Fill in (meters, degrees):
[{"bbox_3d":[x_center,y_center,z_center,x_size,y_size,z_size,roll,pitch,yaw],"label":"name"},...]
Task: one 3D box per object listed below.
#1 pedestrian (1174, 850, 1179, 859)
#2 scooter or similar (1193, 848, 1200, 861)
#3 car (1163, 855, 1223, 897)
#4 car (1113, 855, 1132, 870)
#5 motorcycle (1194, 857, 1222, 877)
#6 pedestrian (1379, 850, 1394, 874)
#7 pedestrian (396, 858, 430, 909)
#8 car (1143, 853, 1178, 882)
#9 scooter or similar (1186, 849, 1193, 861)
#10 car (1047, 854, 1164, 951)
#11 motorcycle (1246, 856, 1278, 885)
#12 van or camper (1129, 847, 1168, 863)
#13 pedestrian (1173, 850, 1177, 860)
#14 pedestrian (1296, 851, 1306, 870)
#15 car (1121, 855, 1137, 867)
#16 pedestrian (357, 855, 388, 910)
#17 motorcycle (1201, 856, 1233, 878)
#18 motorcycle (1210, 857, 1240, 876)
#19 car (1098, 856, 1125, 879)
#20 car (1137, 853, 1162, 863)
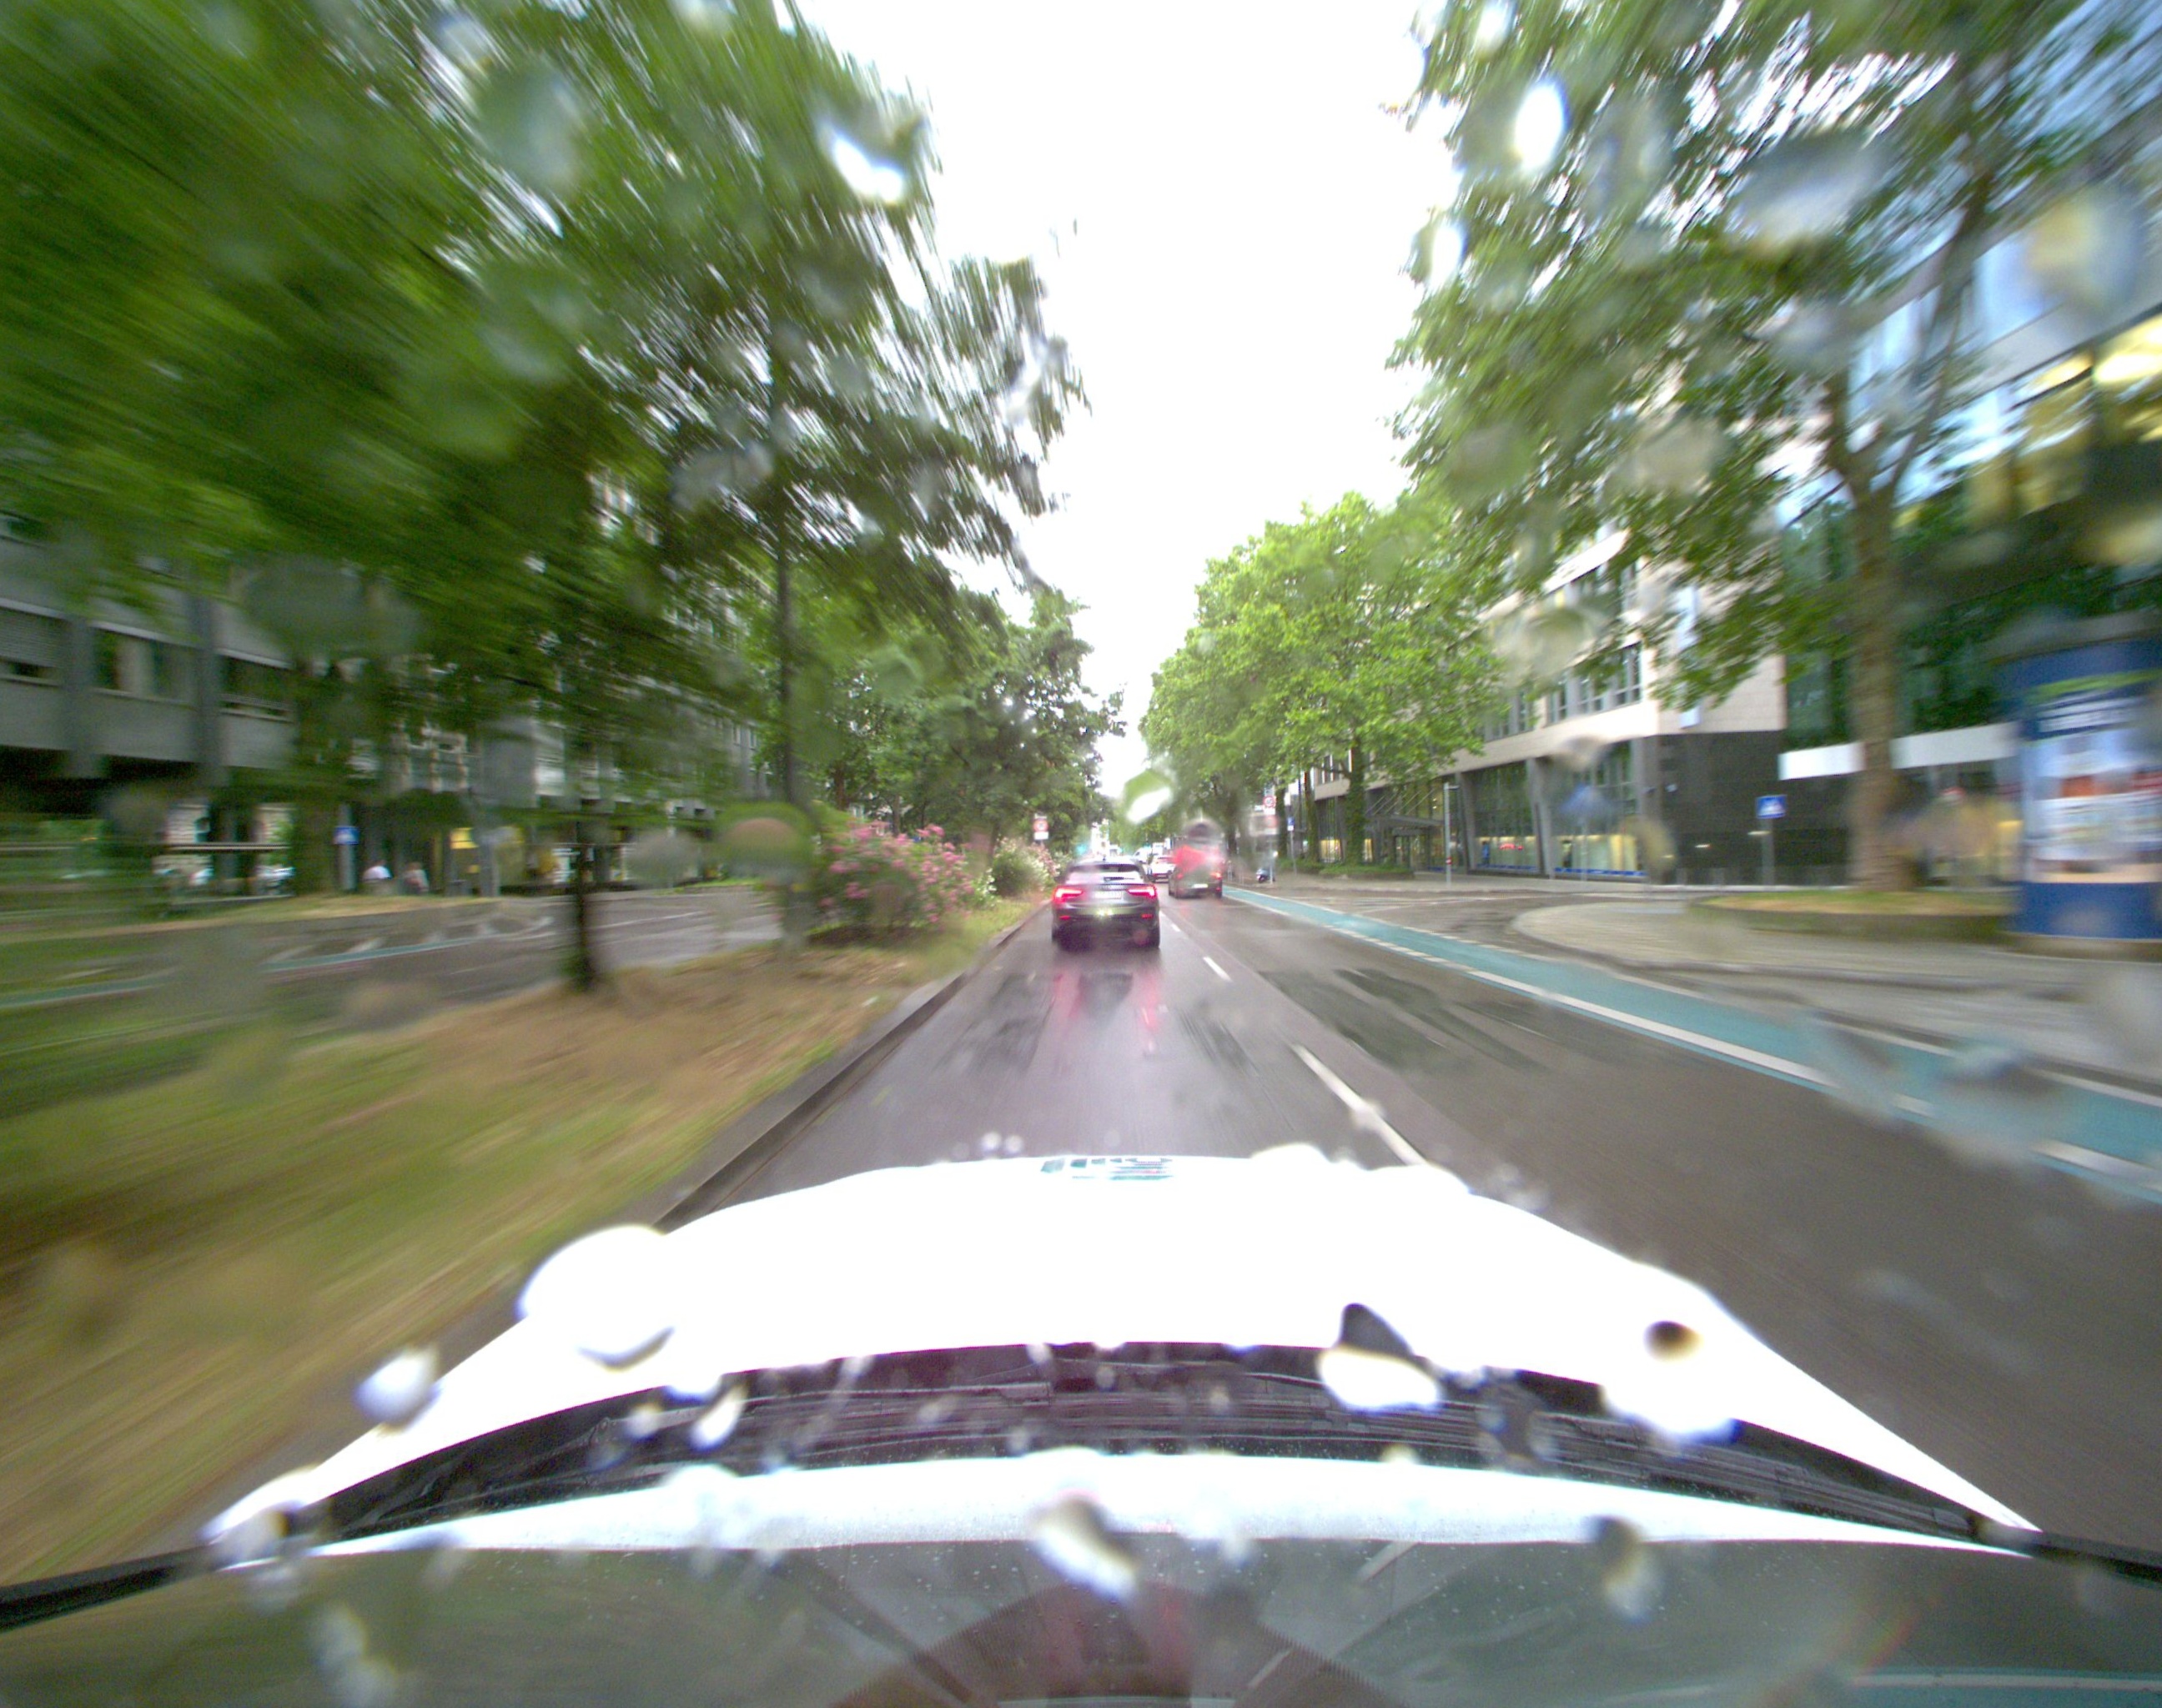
[{"bbox_3d":[17.823,0.137,151.398,0.802,1.696,1.187,0,-1,0],"label":"pedestrian"},{"bbox_3d":[11.943,0.047,84.069,0.486,1.260,1.294,-2,1,1],"label":"scooter or similar"},{"bbox_3d":[4.273,0.807,31.531,1.843,1.523,4.039,-1,0,1],"label":"car"},{"bbox_3d":[4.243,0.887,83.529,1.843,1.523,4.039,-1,0,1],"label":"car"},{"bbox_3d":[9.698,0.961,62.137,1.962,1.373,0.724,-3,1,-21],"label":"motorcycle"},{"bbox_3d":[22.712,0.593,60.525,0.720,1.693,0.833,-2,0,44],"label":"pedestrian"},{"bbox_3d":[-22.671,0.999,27.633,0.561,1.708,0.686,-1,-1,1],"label":"pedestrian"},{"bbox_3d":[4.810,0.779,49.656,1.843,1.669,4.039,-1,0,1],"label":"car"},{"bbox_3d":[11.414,0.079,85.780,0.486,1.260,1.294,-2,1,1],"label":"scooter or similar"},{"bbox_3d":[0.413,0.790,15.078,1.843,1.523,4.038,-1,0,0],"label":"car"},{"bbox_3d":[9.343,0.837,41.954,0.676,1.367,1.958,-5,-2,41],"label":"motorcycle"},{"bbox_3d":[10.957,0.191,132.276,6.008,2.558,2.117,-1,-1,28],"label":"van or camper"},{"bbox_3d":[17.374,0.159,150.404,0.551,1.805,0.761,0,-1,-2],"label":"pedestrian"},{"bbox_3d":[21.789,0.660,80.524,0.822,1.803,0.730,-1,-1,4],"label":"pedestrian"},{"bbox_3d":[6.056,0.855,102.940,1.843,1.523,4.039,-1,0,1],"label":"car"},{"bbox_3d":[-23.770,0.943,27.327,0.546,1.807,0.522,-1,-1,1],"label":"pedestrian"},{"bbox_3d":[9.645,0.887,57.705,2.061,1.428,0.724,-3,1,-21],"label":"motorcycle"},{"bbox_3d":[9.762,0.846,55.334,2.069,1.213,0.677,-3,-1,-35],"label":"motorcycle"},{"bbox_3d":[2.130,0.948,58.194,1.843,1.523,4.039,-1,0,1],"label":"car"},{"bbox_3d":[10.656,0.642,126.379,3.618,1.547,1.723,-1,0,20],"label":"car"}]
